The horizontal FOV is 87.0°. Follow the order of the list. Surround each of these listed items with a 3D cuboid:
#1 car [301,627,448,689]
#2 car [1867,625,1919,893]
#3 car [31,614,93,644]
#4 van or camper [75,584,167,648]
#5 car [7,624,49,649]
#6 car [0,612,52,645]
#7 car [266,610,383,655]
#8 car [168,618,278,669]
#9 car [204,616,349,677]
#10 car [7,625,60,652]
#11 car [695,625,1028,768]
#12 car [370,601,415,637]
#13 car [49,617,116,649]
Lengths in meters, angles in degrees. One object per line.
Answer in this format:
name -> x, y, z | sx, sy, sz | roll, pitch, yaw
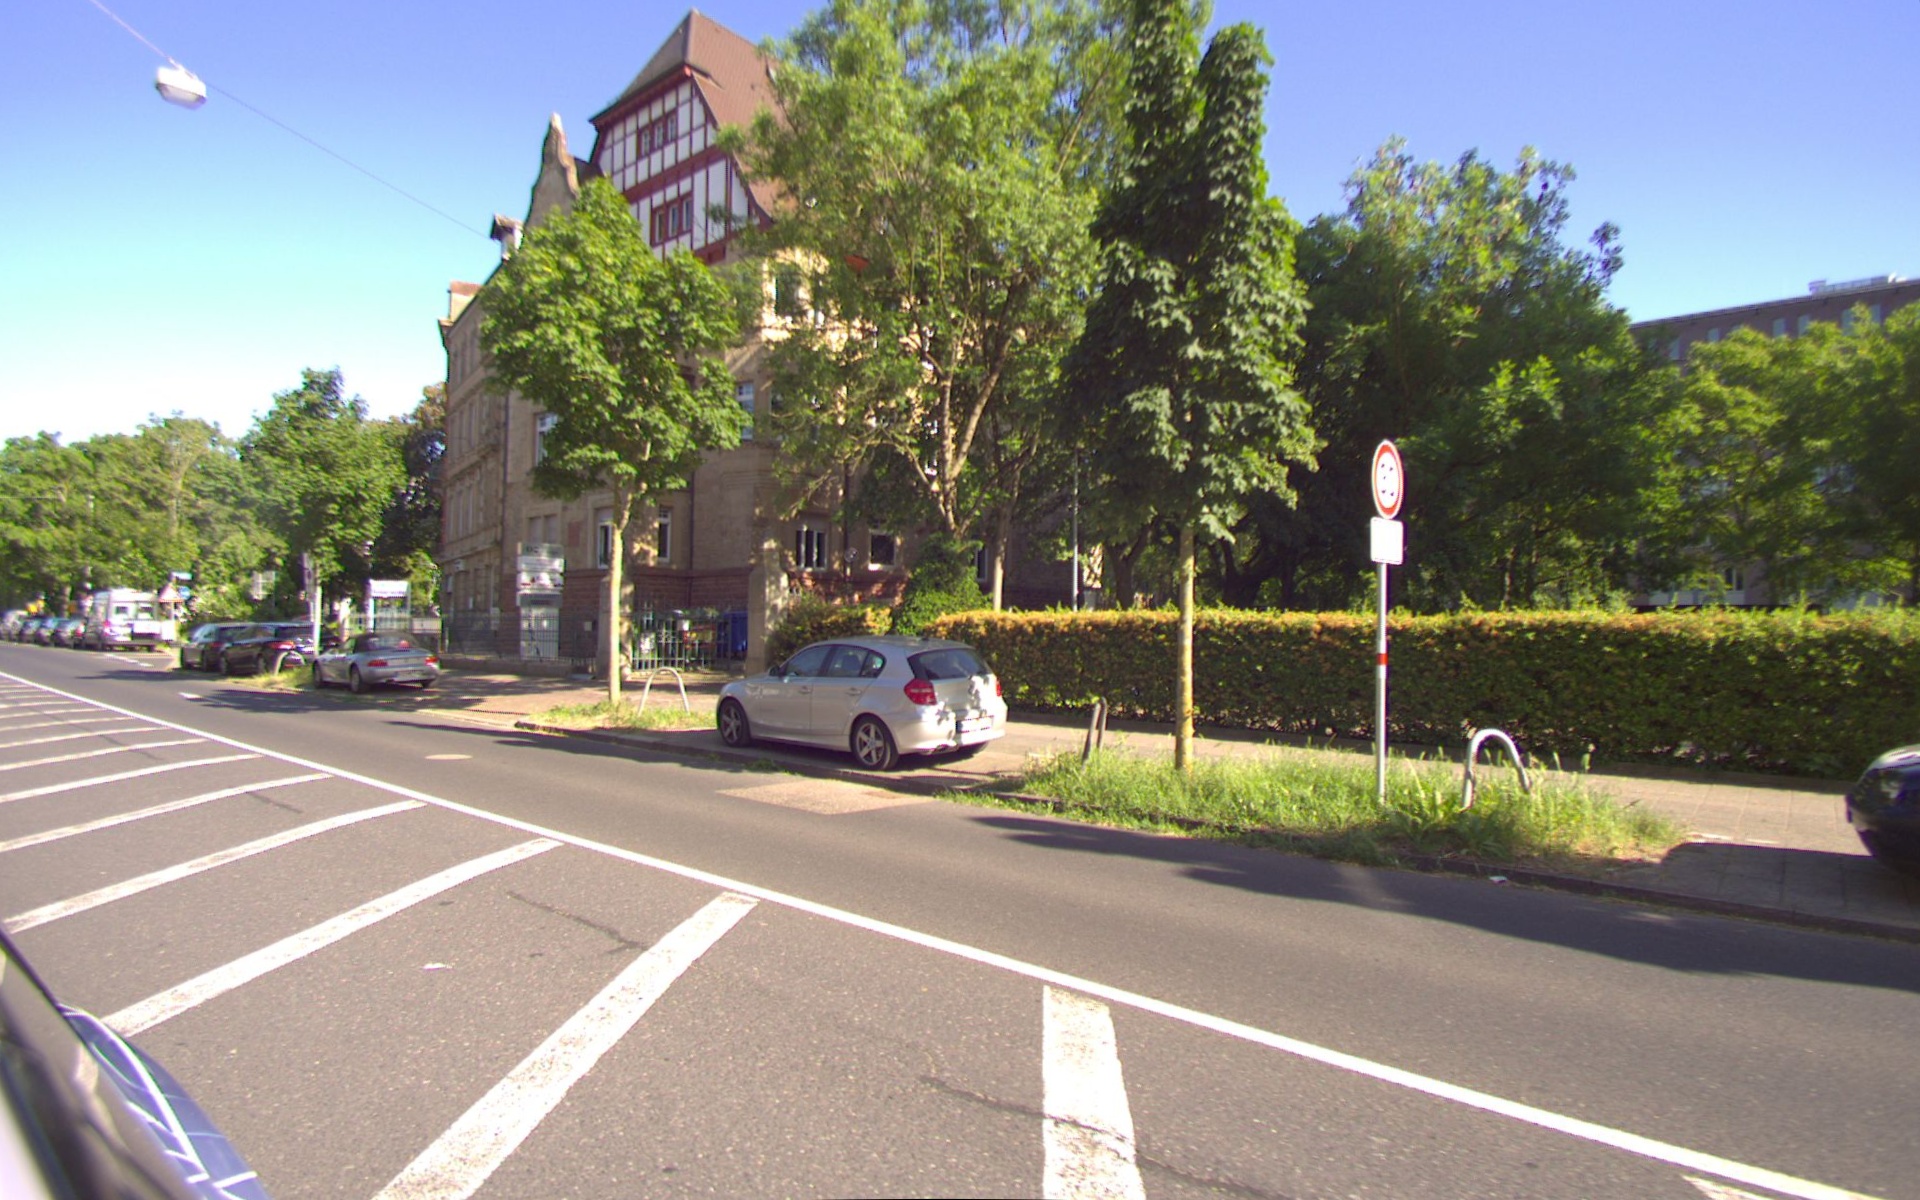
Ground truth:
car -> -13.194, 1.248, 22.732 | 4.013, 1.265, 1.661 | -1, -2, 41
car -> 7.199, 0.858, 4.955 | 4.071, 1.470, 1.693 | -1, -2, 42
car -> -46.463, 1.514, 52.350 | 4.402, 1.424, 1.762 | -1, -5, 41
van or camper -> -38.418, 0.775, 46.272 | 6.084, 2.760, 2.193 | -1, -3, 41
car -> -59.758, 2.311, 64.882 | 3.956, 1.513, 1.449 | -1, -4, 41
car -> -63.289, 1.923, 68.284 | 4.867, 2.052, 1.965 | -1, -5, 37
car -> -26.598, 1.317, 42.534 | 1.976, 1.683, 4.135 | -2, 0, 7
car -> -23.268, 1.318, 31.881 | 4.718, 1.438, 1.836 | -1, 1, 42
car -> -19.071, 1.243, 28.163 | 4.696, 1.505, 1.839 | -1, 0, 36
car -> -55.396, 2.287, 60.504 | 4.266, 1.493, 1.575 | 0, -4, 38
car -> -1.328, 1.020, 12.258 | 4.191, 1.394, 1.669 | -1, -1, 43
car -> -32.876, 1.113, 58.684 | 1.833, 1.928, 4.466 | 3, -2, -25
car -> -43.051, 1.603, 49.610 | 4.659, 1.468, 1.676 | -1, -5, 39
